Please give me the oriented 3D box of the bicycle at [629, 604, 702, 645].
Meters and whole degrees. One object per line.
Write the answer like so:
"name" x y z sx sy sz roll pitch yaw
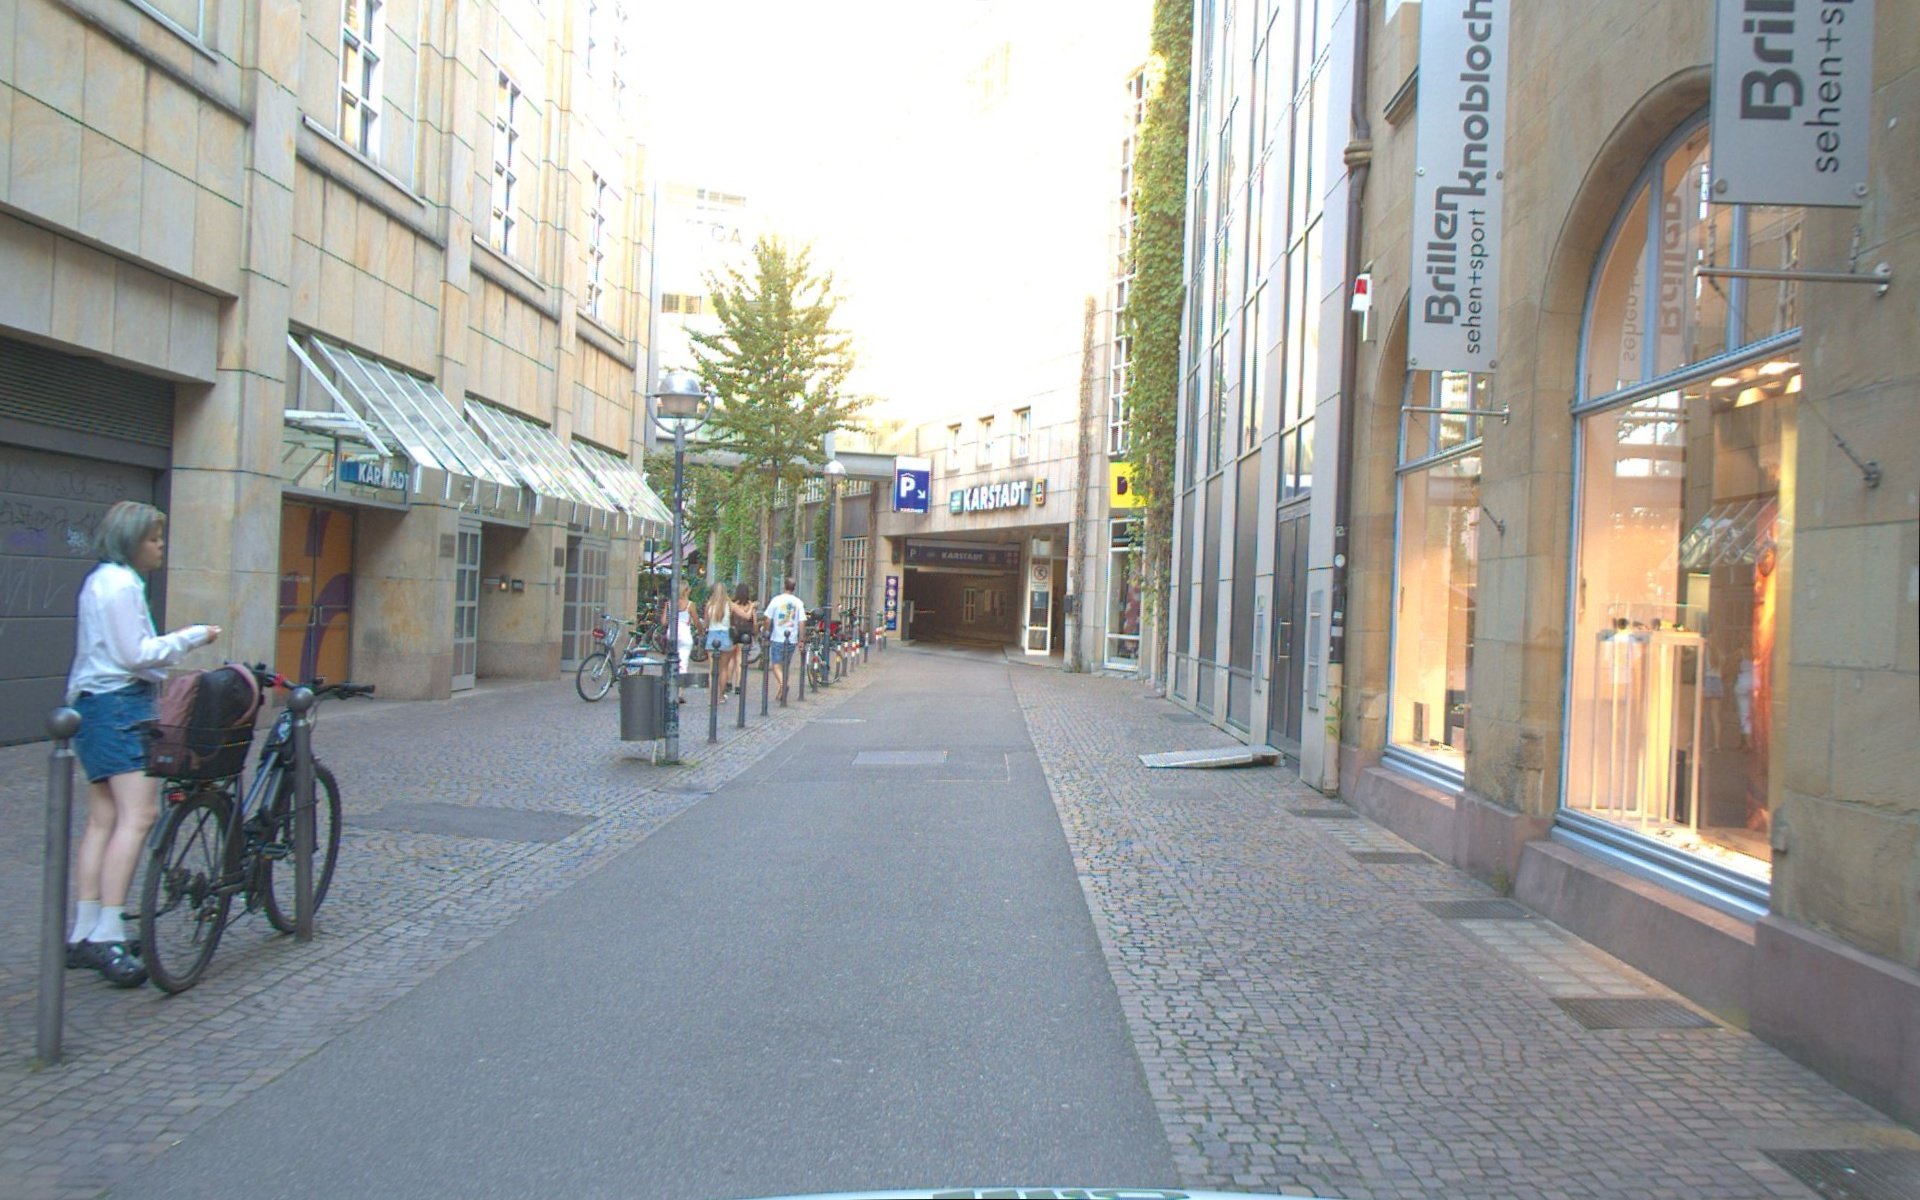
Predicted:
"bicycle" -7.867 0.646 44.163 1.851 1.061 0.530 1 0 -23

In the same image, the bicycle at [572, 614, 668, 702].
"bicycle" -4.665 0.774 22.797 0.510 1.158 1.765 2 0 16

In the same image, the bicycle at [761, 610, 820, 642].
"bicycle" -5.191 0.800 50.691 1.747 0.920 0.461 2 0 -21

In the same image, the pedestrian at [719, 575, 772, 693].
"pedestrian" -3.418 0.533 26.346 0.770 1.826 0.970 2 0 -8

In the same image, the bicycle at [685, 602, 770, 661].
"bicycle" -5.056 0.689 36.056 1.742 1.252 0.530 1 0 -23

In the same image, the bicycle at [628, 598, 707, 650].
"bicycle" -7.132 0.588 40.380 1.808 1.246 0.530 1 0 -23

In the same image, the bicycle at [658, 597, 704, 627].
"bicycle" -11.202 0.486 66.516 1.745 1.134 0.540 2 0 -18

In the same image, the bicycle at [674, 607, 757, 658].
"bicycle" -5.642 0.744 38.224 1.811 1.142 0.530 1 0 -23

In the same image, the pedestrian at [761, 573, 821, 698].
"pedestrian" -2.578 0.526 25.185 0.730 1.854 0.874 2 0 -16

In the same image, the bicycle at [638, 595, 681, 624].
"bicycle" -13.038 0.398 71.705 1.747 1.211 0.583 2 0 -21

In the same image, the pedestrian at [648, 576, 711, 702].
"pedestrian" -3.906 0.533 23.070 0.661 1.693 0.860 2 0 0

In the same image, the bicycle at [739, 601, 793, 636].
"bicycle" -6.595 0.621 56.260 1.747 1.134 0.539 2 0 -21

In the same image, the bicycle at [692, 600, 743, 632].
"bicycle" -8.895 0.597 60.745 1.747 1.134 0.539 2 0 -21

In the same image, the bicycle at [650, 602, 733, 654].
"bicycle" -6.354 0.665 39.177 1.846 1.198 0.530 1 0 -23

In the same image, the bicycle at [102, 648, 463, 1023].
"bicycle" -2.582 0.825 6.555 0.522 1.173 1.915 4 0 2

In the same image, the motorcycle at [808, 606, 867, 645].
"motorcycle" -3.558 0.742 48.218 1.638 1.069 0.461 2 0 -21

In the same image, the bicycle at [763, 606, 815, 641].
"bicycle" -5.331 0.732 51.641 1.517 1.067 0.572 2 0 -21

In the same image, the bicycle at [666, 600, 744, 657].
"bicycle" -5.754 0.643 37.333 1.631 1.252 0.530 1 0 -23

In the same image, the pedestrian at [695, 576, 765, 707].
"pedestrian" -3.199 0.563 23.091 0.790 1.760 0.948 2 0 -1

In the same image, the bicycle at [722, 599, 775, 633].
"bicycle" -7.480 0.566 58.492 1.747 1.134 0.539 2 0 -21

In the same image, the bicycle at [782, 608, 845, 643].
"bicycle" -4.410 0.777 49.842 1.821 0.999 0.461 2 0 -21

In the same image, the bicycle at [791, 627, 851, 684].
"bicycle" -2.475 0.979 29.614 0.482 0.955 1.660 3 0 15

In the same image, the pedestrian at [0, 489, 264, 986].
"pedestrian" -3.102 0.499 6.221 0.756 1.748 0.588 4 0 -20

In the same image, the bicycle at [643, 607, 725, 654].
"bicycle" -6.628 0.735 39.707 1.868 1.070 0.530 1 0 -23
